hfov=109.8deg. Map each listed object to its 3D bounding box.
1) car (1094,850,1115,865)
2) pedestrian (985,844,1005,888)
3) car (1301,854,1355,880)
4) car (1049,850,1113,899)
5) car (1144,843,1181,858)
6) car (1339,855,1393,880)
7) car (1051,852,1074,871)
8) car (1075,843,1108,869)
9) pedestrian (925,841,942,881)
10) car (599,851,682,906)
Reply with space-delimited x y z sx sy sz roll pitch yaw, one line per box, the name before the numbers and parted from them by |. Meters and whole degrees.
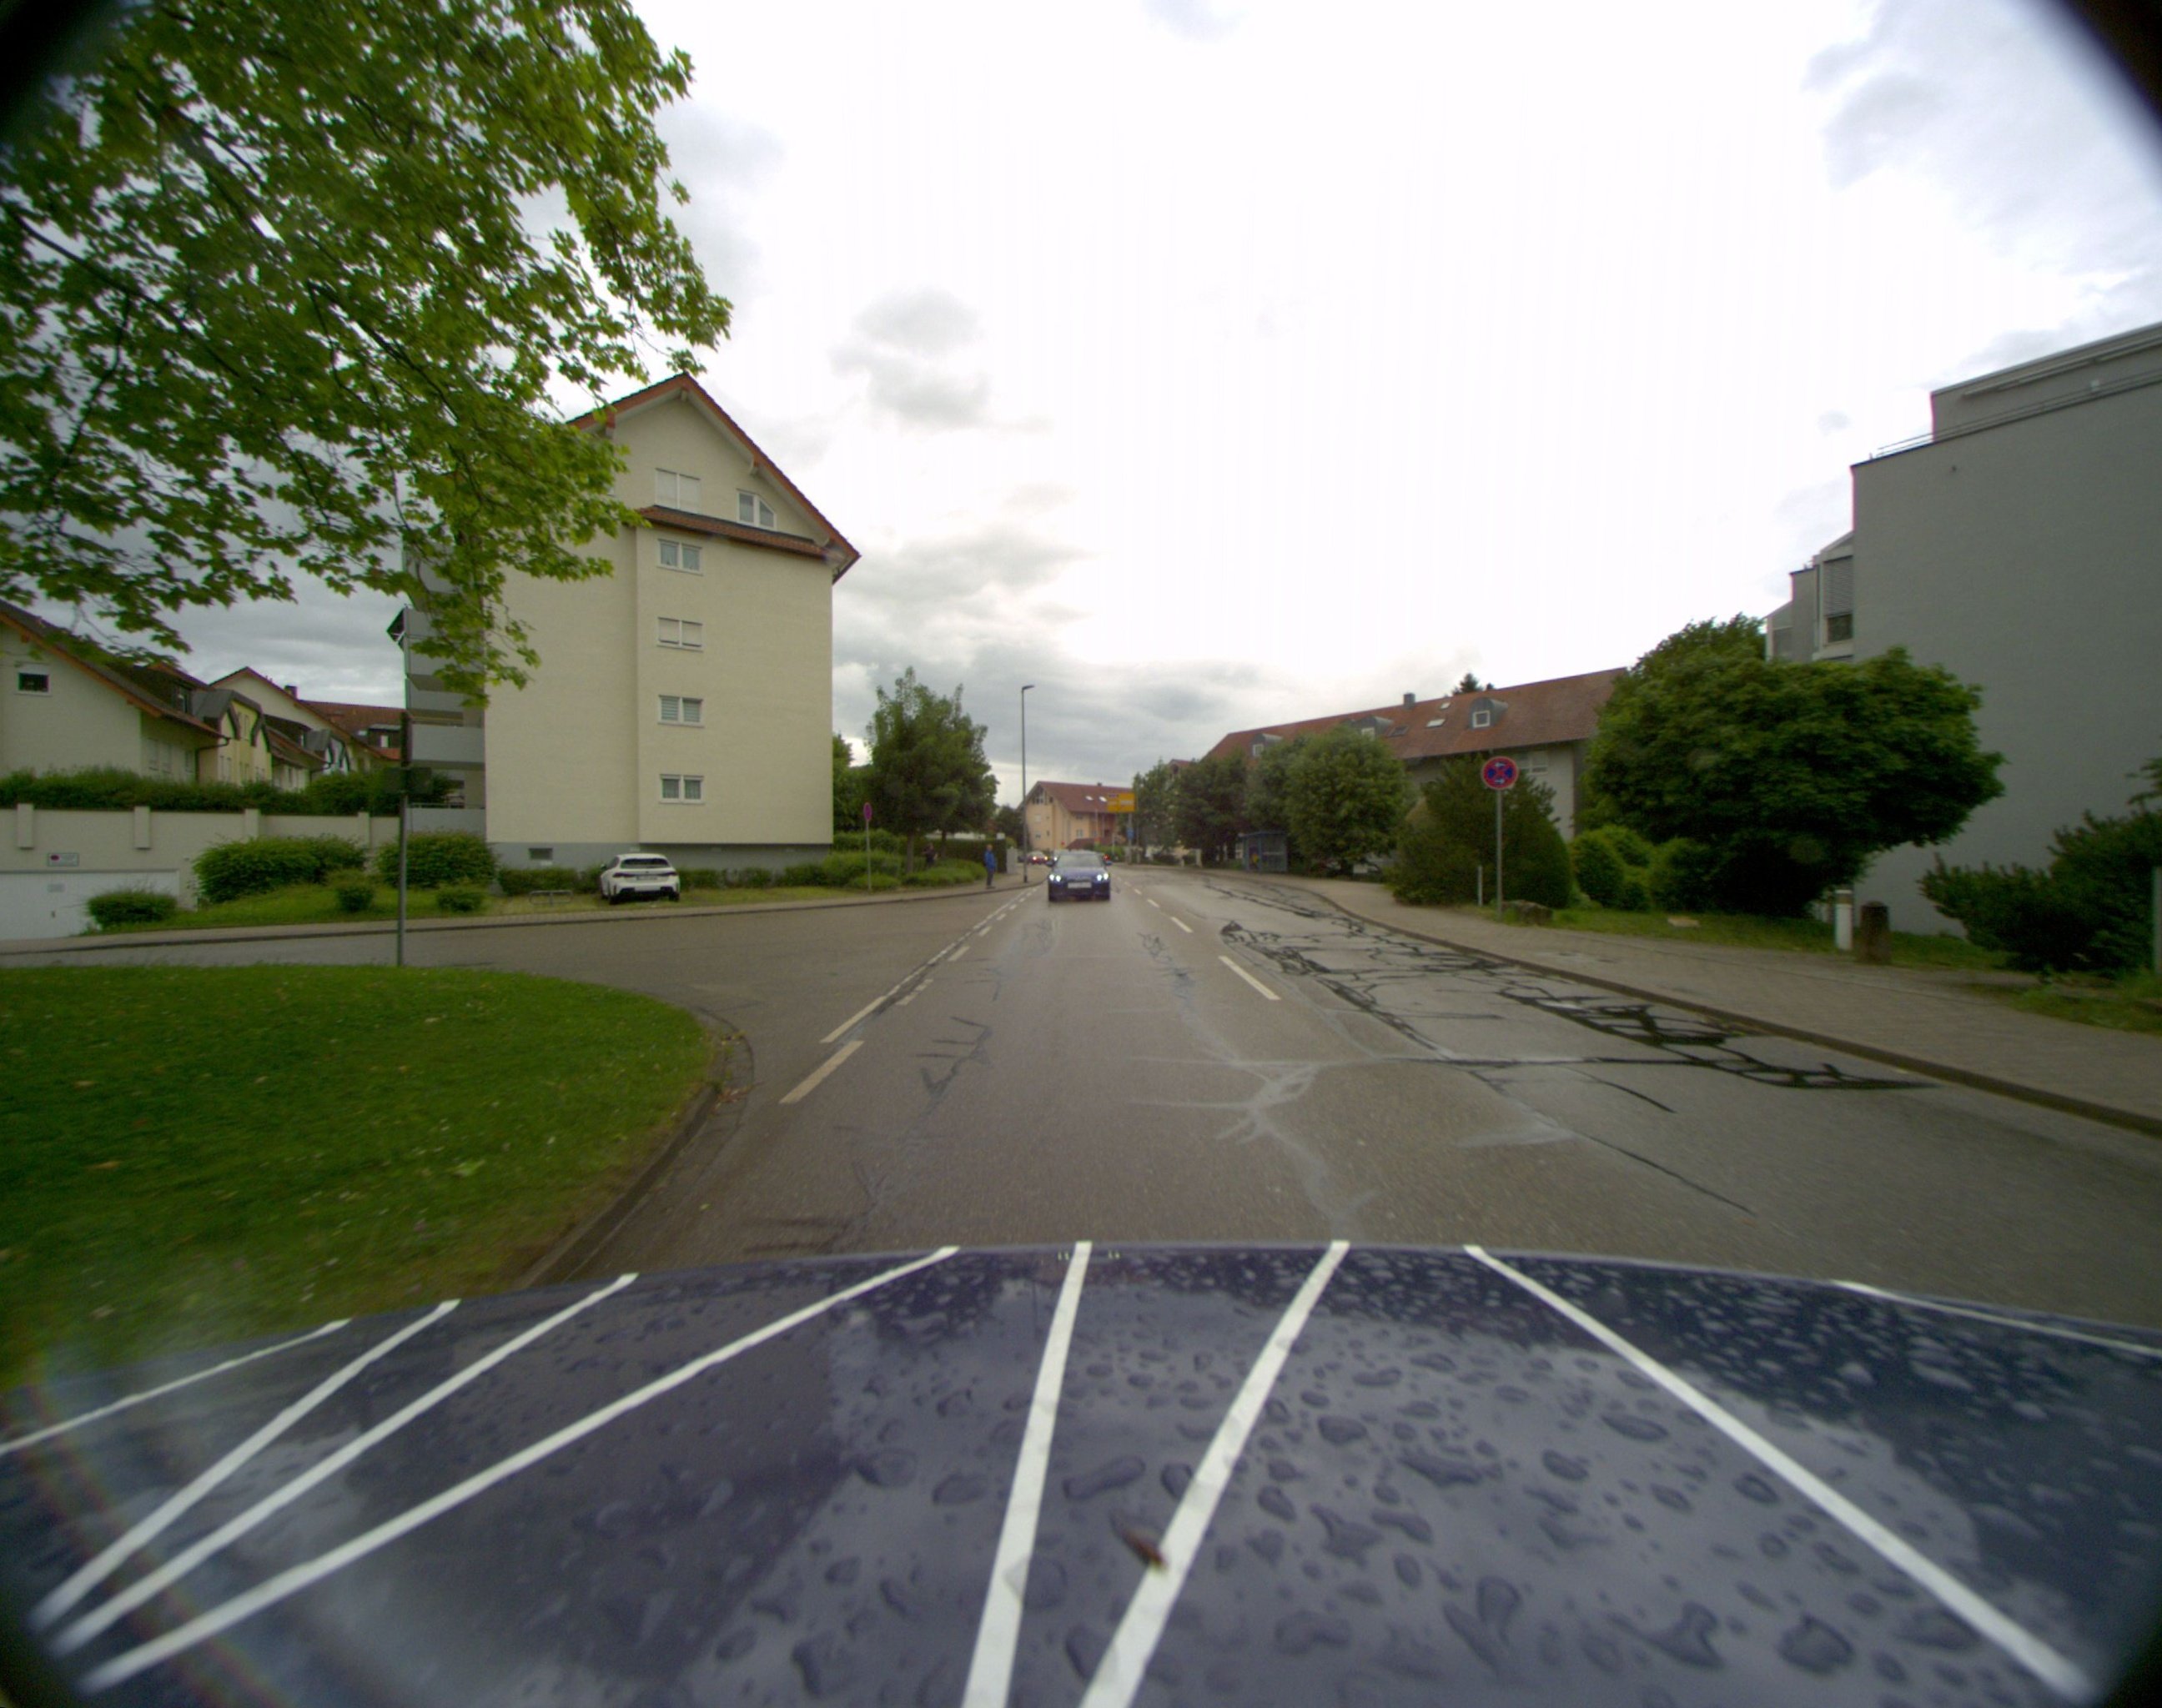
car | 2.388 0.311 77.728 1.678 1.434 3.998 -1 1 -4
pedestrian | -3.336 0.454 29.338 0.591 1.657 0.774 -2 2 -16
car | 15.516 0.765 47.905 1.774 1.456 3.997 -1 1 -5
car | -0.054 0.621 25.325 1.913 1.425 4.299 -1 1 -2
car | 9.045 -0.418 84.458 1.741 1.592 3.988 0 1 -41
car | 17.925 0.816 48.032 1.615 1.456 3.997 -1 1 -5
car | -1.662 0.633 68.471 1.841 1.541 3.998 -1 1 -4
car | 0.667 0.060 44.980 1.840 1.440 4.000 -1 1 2
pedestrian | -6.595 0.317 33.936 0.616 1.762 0.669 -2 1 -21
car | -13.355 0.670 22.947 1.750 1.472 3.758 0 1 -37
